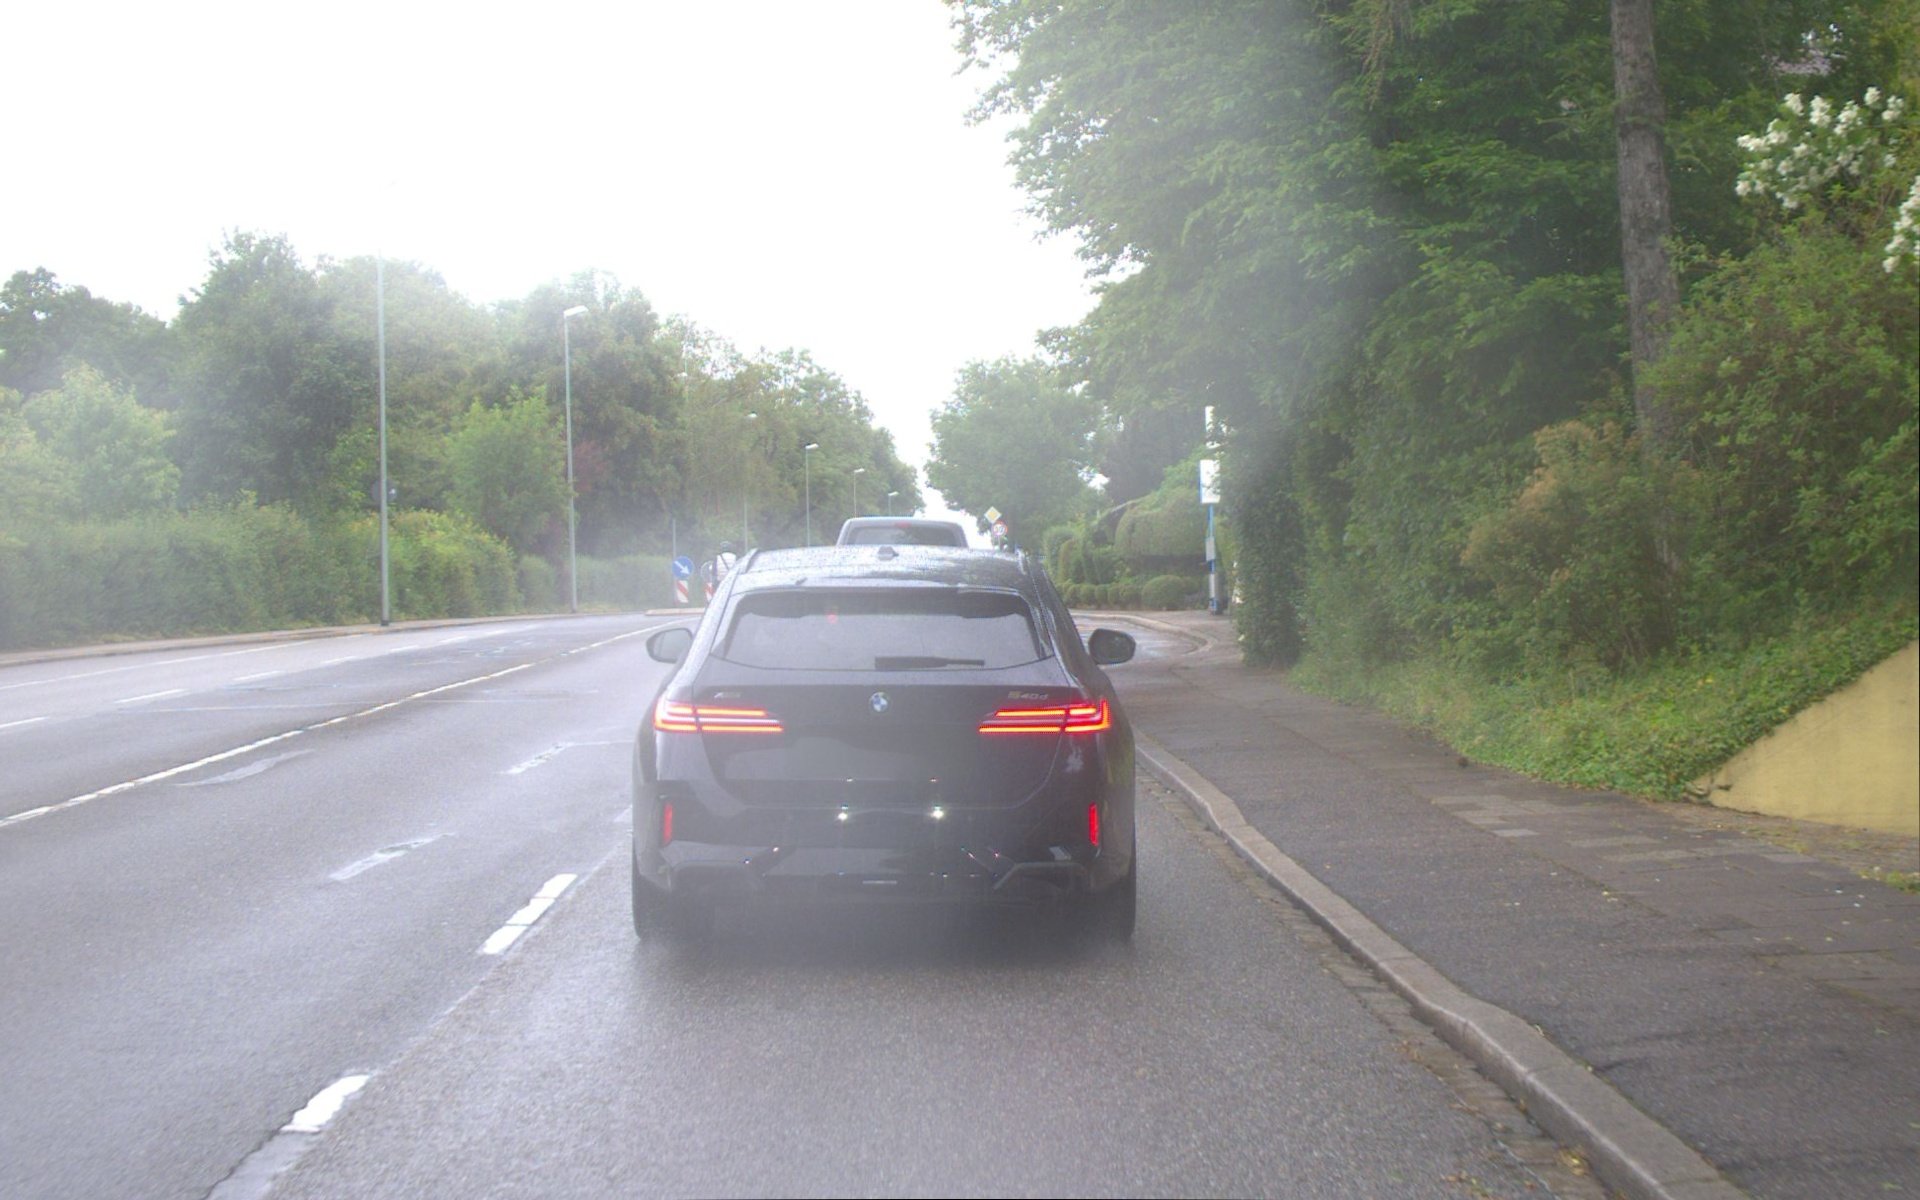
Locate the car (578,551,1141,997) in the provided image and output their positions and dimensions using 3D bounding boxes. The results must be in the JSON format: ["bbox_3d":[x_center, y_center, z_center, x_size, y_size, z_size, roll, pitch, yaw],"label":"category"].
[{"bbox_3d":[-0.330,0.580,13.770,1.897,1.484,4.000,1,0,0],"label":"car"}]

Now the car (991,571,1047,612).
[{"bbox_3d":[2.169,-0.324,125.474,1.935,1.437,4.408,-1,0,2],"label":"car"}]

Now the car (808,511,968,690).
[{"bbox_3d":[-0.774,-0.023,37.967,1.629,1.827,4.000,-1,1,-1],"label":"car"}]

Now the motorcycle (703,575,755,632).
[{"bbox_3d":[-4.717,0.067,70.310,0.876,1.120,2.741,1,0,-1],"label":"motorcycle"}]

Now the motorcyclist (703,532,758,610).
[{"bbox_3d":[-4.694,-0.586,70.380,1.039,1.562,0.855,1,0,-1],"label":"motorcyclist"}]
